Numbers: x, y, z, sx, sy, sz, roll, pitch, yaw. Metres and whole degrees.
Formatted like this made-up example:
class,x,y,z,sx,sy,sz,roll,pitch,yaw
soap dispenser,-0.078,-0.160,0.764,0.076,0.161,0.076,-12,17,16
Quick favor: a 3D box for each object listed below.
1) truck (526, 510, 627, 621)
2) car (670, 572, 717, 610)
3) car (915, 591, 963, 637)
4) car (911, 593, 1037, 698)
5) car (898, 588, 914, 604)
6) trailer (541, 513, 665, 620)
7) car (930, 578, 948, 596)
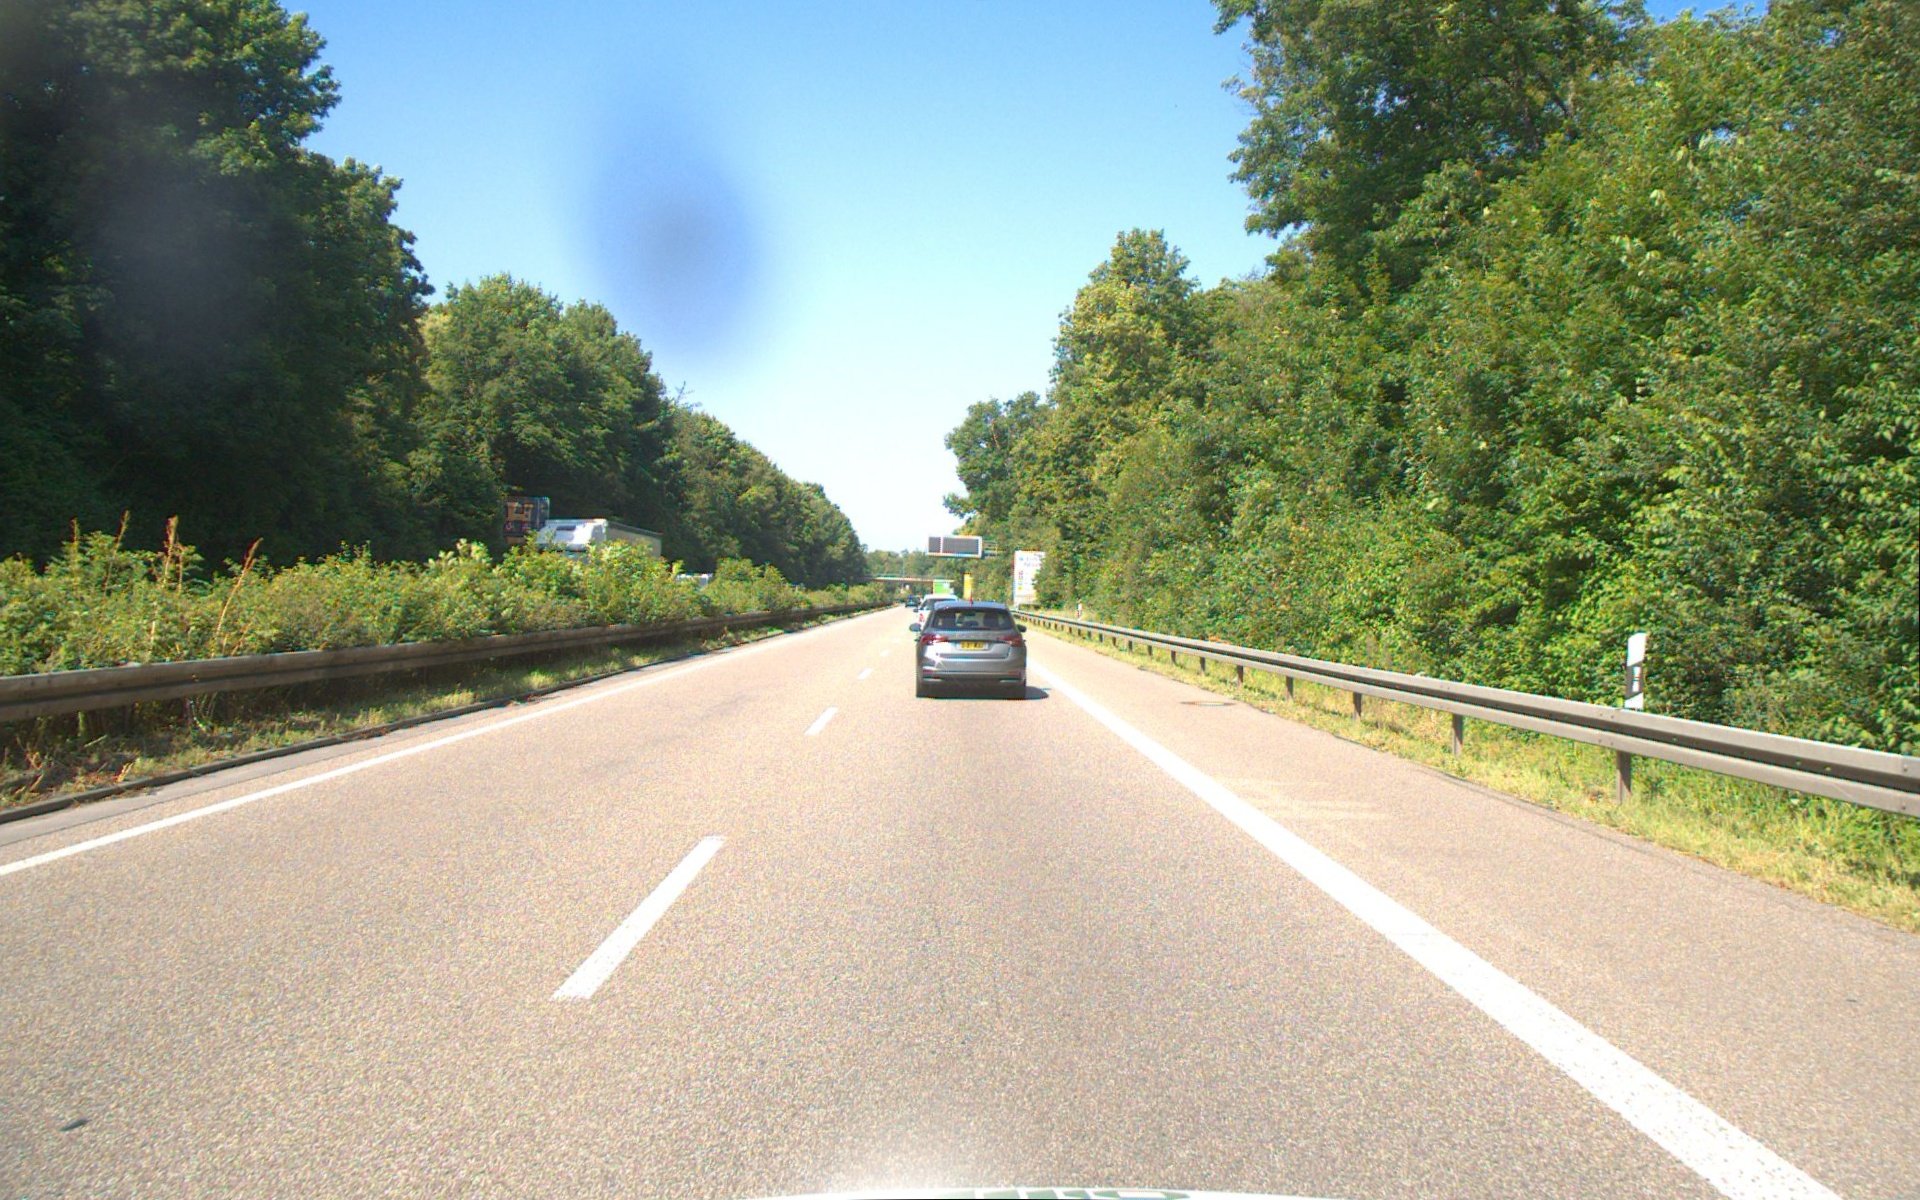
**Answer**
class,x,y,z,sx,sy,sz,roll,pitch,yaw
truck,-15.849,-1.352,68.782,2.662,4.318,6.535,1,0,-1
car,-12.335,-0.402,76.747,1.574,1.736,3.480,1,0,0
car,-0.695,0.460,56.495,1.491,1.472,3.340,1,0,1
car,0.240,0.655,25.813,1.802,1.497,3.624,1,0,1
car,-7.229,-0.527,220.477,1.953,2.049,3.999,1,0,-1
trailer,-15.942,-1.340,75.045,2.771,4.375,13.661,1,0,-1
car,-3.267,-1.972,253.202,2.693,2.701,3.999,1,0,-1
